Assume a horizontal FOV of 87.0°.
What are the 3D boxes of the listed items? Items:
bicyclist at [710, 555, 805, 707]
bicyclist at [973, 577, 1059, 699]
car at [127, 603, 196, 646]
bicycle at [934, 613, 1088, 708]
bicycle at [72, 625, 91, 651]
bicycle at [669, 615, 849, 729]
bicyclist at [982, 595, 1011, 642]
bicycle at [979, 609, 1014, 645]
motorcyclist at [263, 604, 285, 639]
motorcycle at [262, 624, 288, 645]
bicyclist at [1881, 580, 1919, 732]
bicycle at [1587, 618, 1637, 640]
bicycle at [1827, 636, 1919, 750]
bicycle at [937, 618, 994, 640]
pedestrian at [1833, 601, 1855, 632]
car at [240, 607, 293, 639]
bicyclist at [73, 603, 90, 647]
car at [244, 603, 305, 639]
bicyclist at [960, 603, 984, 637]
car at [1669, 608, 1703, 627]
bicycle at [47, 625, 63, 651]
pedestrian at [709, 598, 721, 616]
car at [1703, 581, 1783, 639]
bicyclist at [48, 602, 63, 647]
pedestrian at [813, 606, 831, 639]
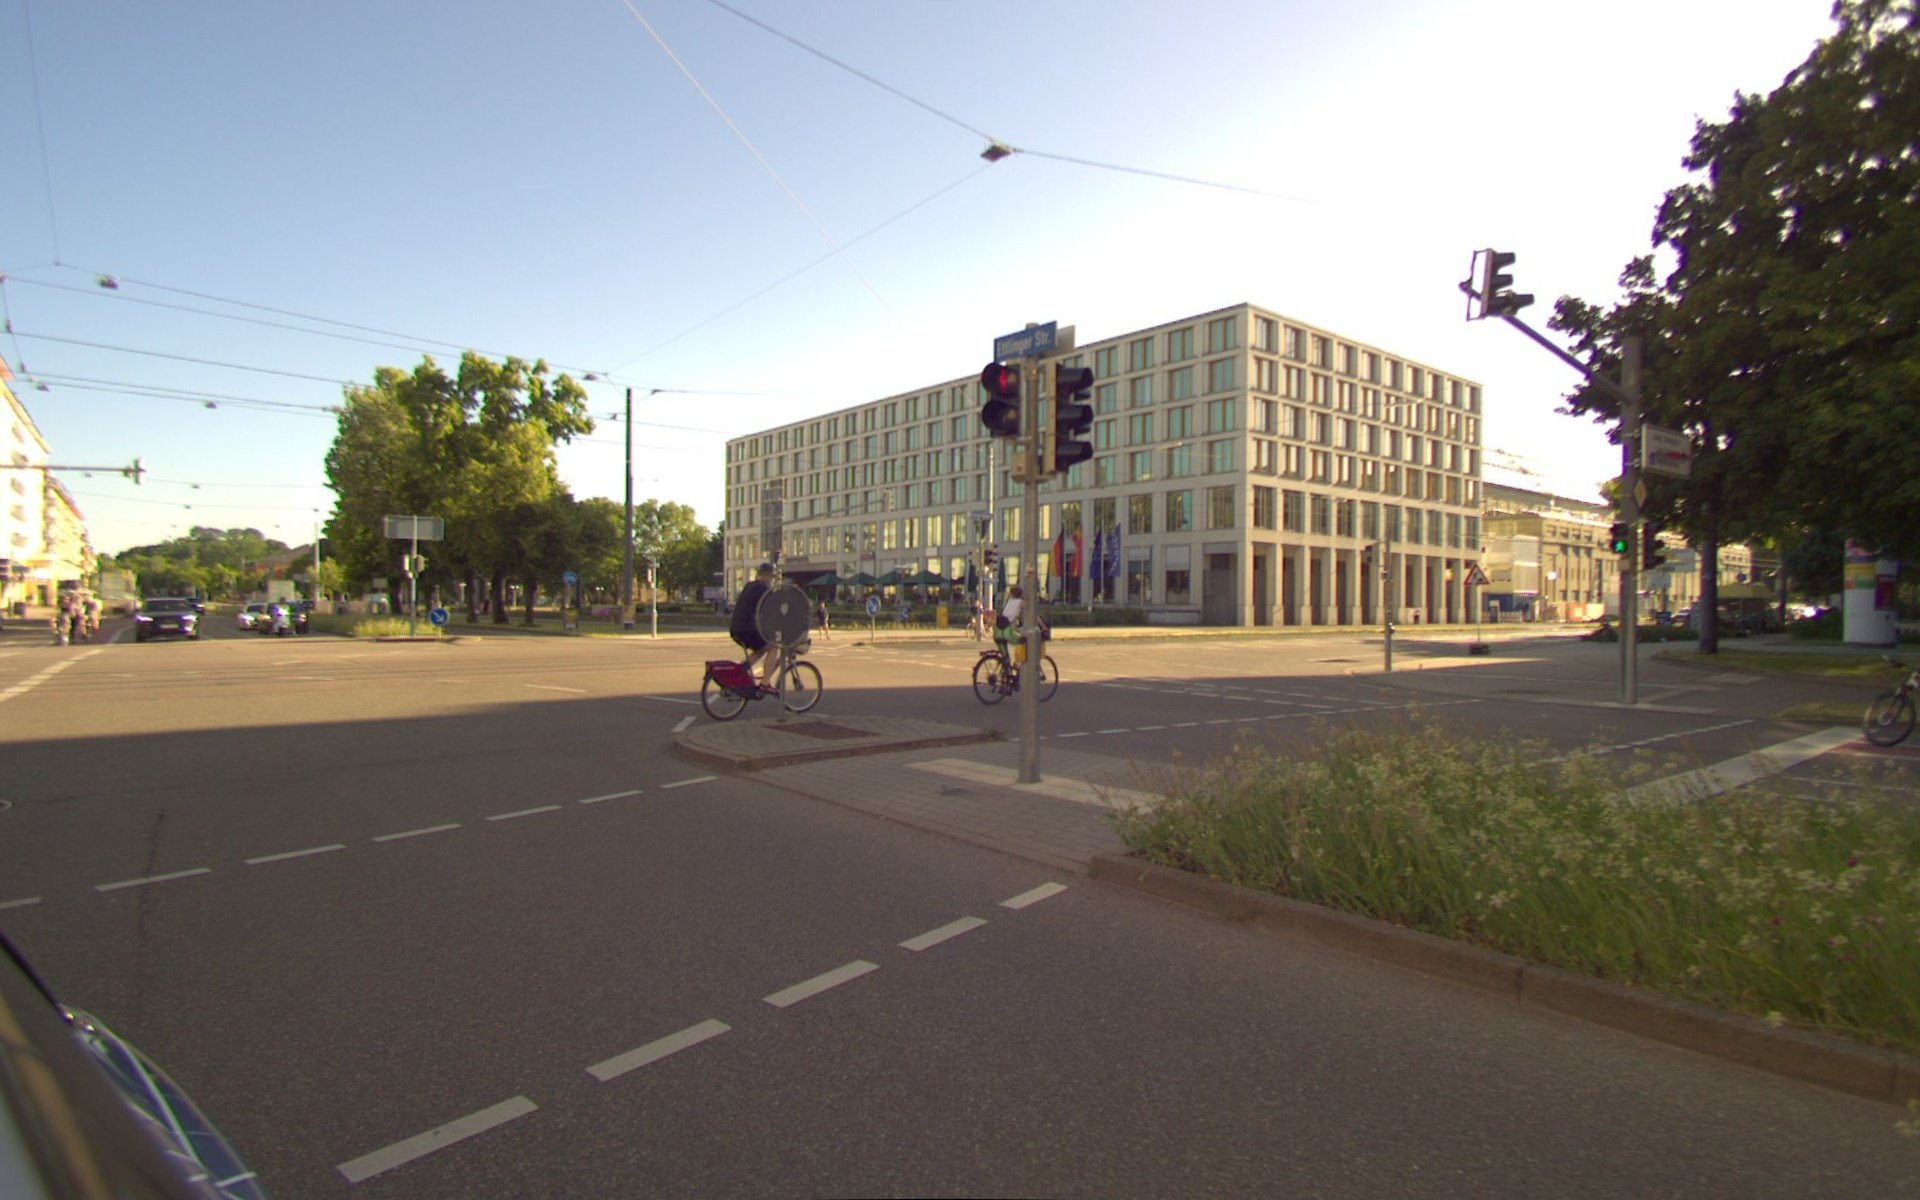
[{"bbox_3d":[-2.449,0.354,12.211,0.825,1.756,0.756,1,0,-39],"label":"bicyclist"},{"bbox_3d":[0.818,0.542,14.742,0.910,1.703,0.777,2,0,-39],"label":"bicyclist"},{"bbox_3d":[-30.850,0.916,39.104,1.968,1.585,4.558,1,-1,-39],"label":"car"},{"bbox_3d":[0.772,0.840,14.713,2.275,1.249,0.779,1,0,-39],"label":"bicycle"},{"bbox_3d":[-31.814,1.366,36.646,0.445,0.880,1.387,1,-1,-39],"label":"bicycle"},{"bbox_3d":[-2.406,0.822,12.246,1.989,1.249,0.779,1,1,-39],"label":"bicycle"},{"bbox_3d":[1.280,0.654,35.610,0.838,1.631,0.975,0,-1,-10],"label":"bicyclist"},{"bbox_3d":[1.275,0.945,35.647,0.833,1.240,2.018,0,-1,-10],"label":"bicycle"},{"bbox_3d":[-28.212,0.877,41.603,0.598,1.457,0.737,1,-1,-45],"label":"motorcyclist"},{"bbox_3d":[-28.065,1.406,41.448,1.309,0.801,0.615,-1,-1,45],"label":"motorcycle"},{"bbox_3d":[11.053,0.633,11.344,0.770,1.691,0.841,1,-1,-25],"label":"bicyclist"},{"bbox_3d":[26.377,1.165,40.952,1.606,0.895,0.759,0,-1,43],"label":"bicycle"},{"bbox_3d":[11.129,1.040,11.159,0.764,1.249,2.256,1,-1,-24],"label":"bicycle"},{"bbox_3d":[0.230,1.186,41.595,2.307,0.858,0.842,0,-1,6],"label":"bicycle"},{"bbox_3d":[50.868,0.951,58.221,0.782,1.753,0.885,0,-1,32],"label":"pedestrian"},{"bbox_3d":[-36.526,1.187,53.284,1.968,1.585,4.558,1,-1,-39],"label":"car"},{"bbox_3d":[-31.771,0.892,36.604,0.447,1.588,0.536,1,-1,-39],"label":"bicyclist"},{"bbox_3d":[-31.779,0.963,46.859,1.968,1.585,4.558,1,-1,-39],"label":"car"},{"bbox_3d":[0.496,0.816,41.573,0.960,1.372,0.825,0,-1,5],"label":"bicyclist"},{"bbox_3d":[73.941,1.773,103.094,3.938,1.984,2.003,1,-1,-42],"label":"car"},{"bbox_3d":[-32.221,1.356,36.041,0.346,0.880,1.387,1,-1,-39],"label":"bicycle"},{"bbox_3d":[-21.886,0.638,90.350,0.772,1.537,0.763,1,-1,-39],"label":"pedestrian"},{"bbox_3d":[42.862,0.550,55.337,5.010,2.975,2.603,1,-1,-42],"label":"car"},{"bbox_3d":[-32.217,0.863,36.046,0.353,1.588,0.536,1,-1,-39],"label":"bicyclist"},{"bbox_3d":[-6.378,1.033,46.720,0.614,1.537,0.604,1,-1,-44],"label":"pedestrian"}]
